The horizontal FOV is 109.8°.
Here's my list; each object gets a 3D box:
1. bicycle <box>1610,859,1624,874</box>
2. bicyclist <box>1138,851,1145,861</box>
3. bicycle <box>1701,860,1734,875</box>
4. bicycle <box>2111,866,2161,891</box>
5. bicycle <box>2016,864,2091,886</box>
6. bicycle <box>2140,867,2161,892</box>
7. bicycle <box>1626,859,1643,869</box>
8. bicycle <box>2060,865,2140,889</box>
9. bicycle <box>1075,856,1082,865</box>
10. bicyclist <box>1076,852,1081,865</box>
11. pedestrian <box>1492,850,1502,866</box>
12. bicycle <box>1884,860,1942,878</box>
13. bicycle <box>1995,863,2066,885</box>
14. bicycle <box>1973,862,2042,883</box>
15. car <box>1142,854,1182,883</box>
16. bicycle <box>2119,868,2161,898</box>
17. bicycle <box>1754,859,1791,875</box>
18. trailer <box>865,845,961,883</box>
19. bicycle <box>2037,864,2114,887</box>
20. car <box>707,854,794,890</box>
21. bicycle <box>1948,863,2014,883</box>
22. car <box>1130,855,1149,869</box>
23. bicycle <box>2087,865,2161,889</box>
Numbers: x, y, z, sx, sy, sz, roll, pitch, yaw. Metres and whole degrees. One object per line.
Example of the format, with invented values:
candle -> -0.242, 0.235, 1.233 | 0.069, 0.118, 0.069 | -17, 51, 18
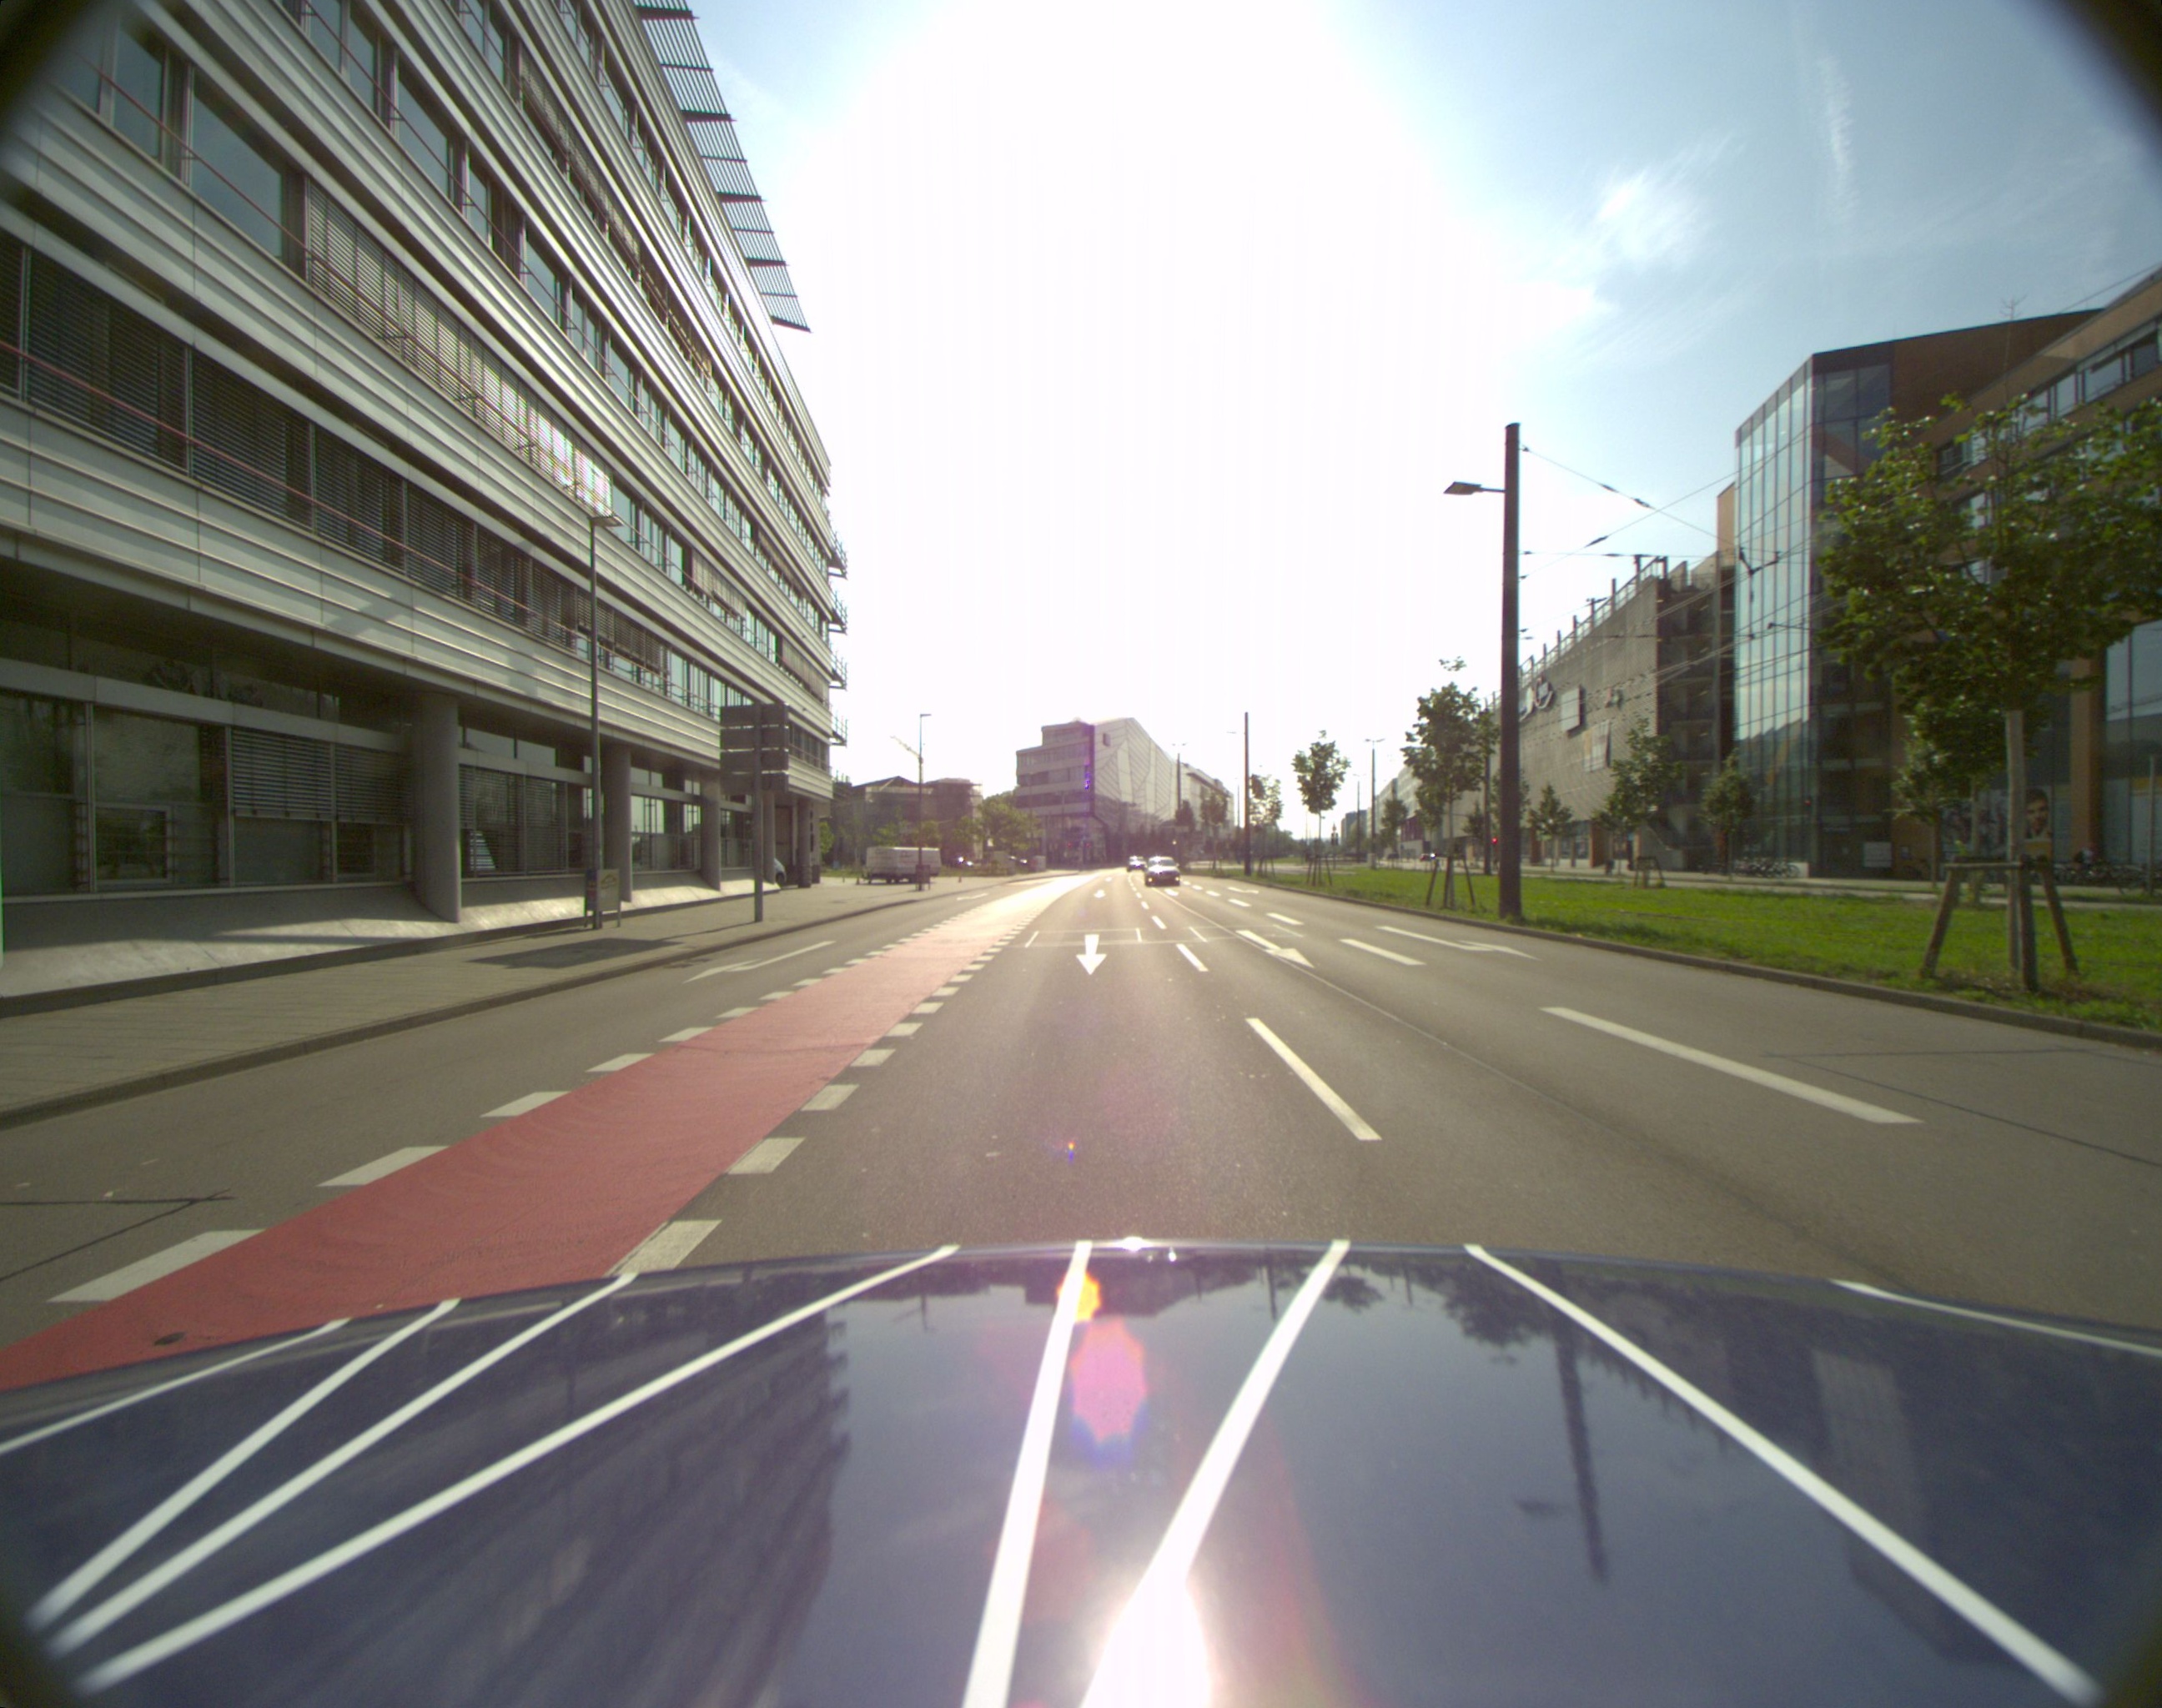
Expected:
bicycle -> 37.820, 0.859, 53.620 | 0.444, 0.982, 2.167 | 1, 2, 26
bicyclist -> 9.725, 0.379, 121.616 | 0.781, 1.577, 0.933 | 1, 2, 23
bicycle -> 40.180, 0.867, 47.968 | 1.581, 0.935, 0.473 | 0, 1, 16
bicycle -> 40.628, 0.923, 28.781 | 2.051, 0.916, 0.574 | 0, 1, 12
bicycle -> 41.213, 0.878, 32.215 | 2.051, 0.916, 0.574 | 0, 1, 12
bicycle -> 40.522, 0.924, 27.895 | 2.051, 0.916, 0.574 | 0, 1, 12
bicycle -> 43.312, 0.757, 59.467 | 1.004, 0.747, 0.453 | -1, 0, 18
bicycle -> 40.873, 0.919, 30.487 | 2.051, 0.916, 0.574 | 0, 1, 12
bicycle -> -0.327, 0.844, 100.378 | 0.669, 1.092, 1.805 | 0, 2, 6
bicyclist -> -0.315, 0.552, 100.462 | 0.669, 1.693, 0.637 | 0, 2, 6
pedestrian -> 40.673, 0.429, 74.288 | 0.762, 1.570, 0.590 | 0, 1, 13
bicycle -> 42.490, 0.755, 38.805 | 2.051, 0.916, 0.574 | 0, 1, 12
bicycle -> 41.325, 0.879, 33.082 | 2.051, 0.916, 0.574 | 0, 1, 12
bicycle -> 41.476, 0.831, 34.035 | 2.051, 0.916, 0.574 | 0, 1, 12
car -> 4.114, 0.705, 39.054 | 1.643, 1.411, 3.895 | 0, 1, 1
bicycle -> 34.764, 0.933, 24.432 | 1.679, 0.902, 0.710 | -1, 1, 4
bicycle -> 40.144, 0.756, 44.105 | 1.581, 0.935, 0.411 | 0, 1, 16
trailer -> -10.163, 0.569, 46.551 | 2.390, 2.138, 5.960 | 0, 0, 28
bicycle -> 41.052, 0.895, 31.389 | 2.051, 0.916, 0.574 | 0, 1, 12
car -> -15.315, 0.799, 35.453 | 1.747, 1.580, 4.004 | 0, -1, 11
bicycle -> 41.728, 0.874, 35.241 | 2.051, 0.916, 0.574 | 0, 1, 12
car -> 5.599, 0.769, 73.077 | 1.587, 1.335, 3.164 | -1, 0, 0
bicycle -> 40.847, 0.899, 29.656 | 2.051, 0.916, 0.574 | 0, 1, 12
